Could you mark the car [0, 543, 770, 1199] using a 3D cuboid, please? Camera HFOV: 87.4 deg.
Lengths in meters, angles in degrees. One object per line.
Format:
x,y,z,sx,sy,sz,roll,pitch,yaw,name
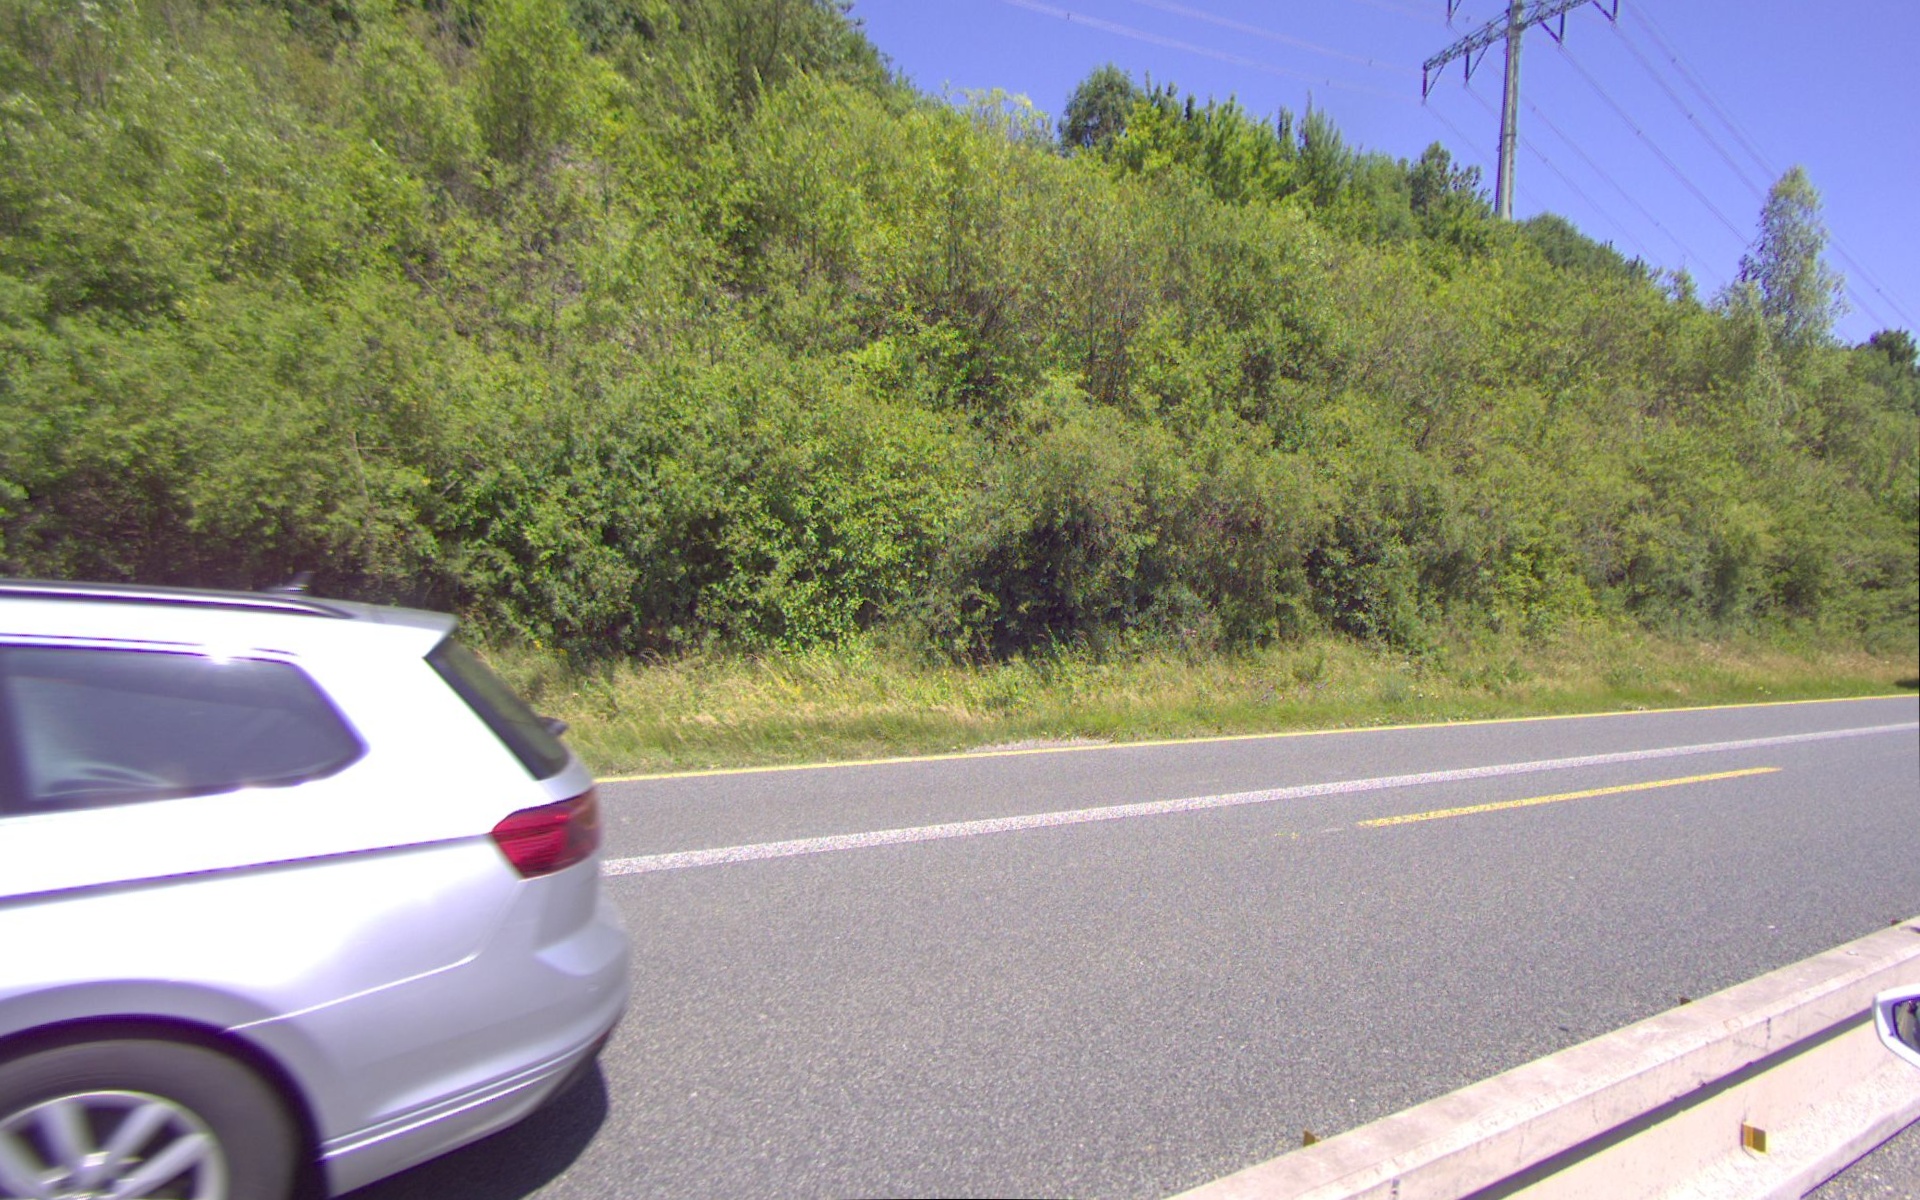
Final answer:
-2.832,0.634,2.002,4.460,1.510,1.832,2,-1,-31,car
